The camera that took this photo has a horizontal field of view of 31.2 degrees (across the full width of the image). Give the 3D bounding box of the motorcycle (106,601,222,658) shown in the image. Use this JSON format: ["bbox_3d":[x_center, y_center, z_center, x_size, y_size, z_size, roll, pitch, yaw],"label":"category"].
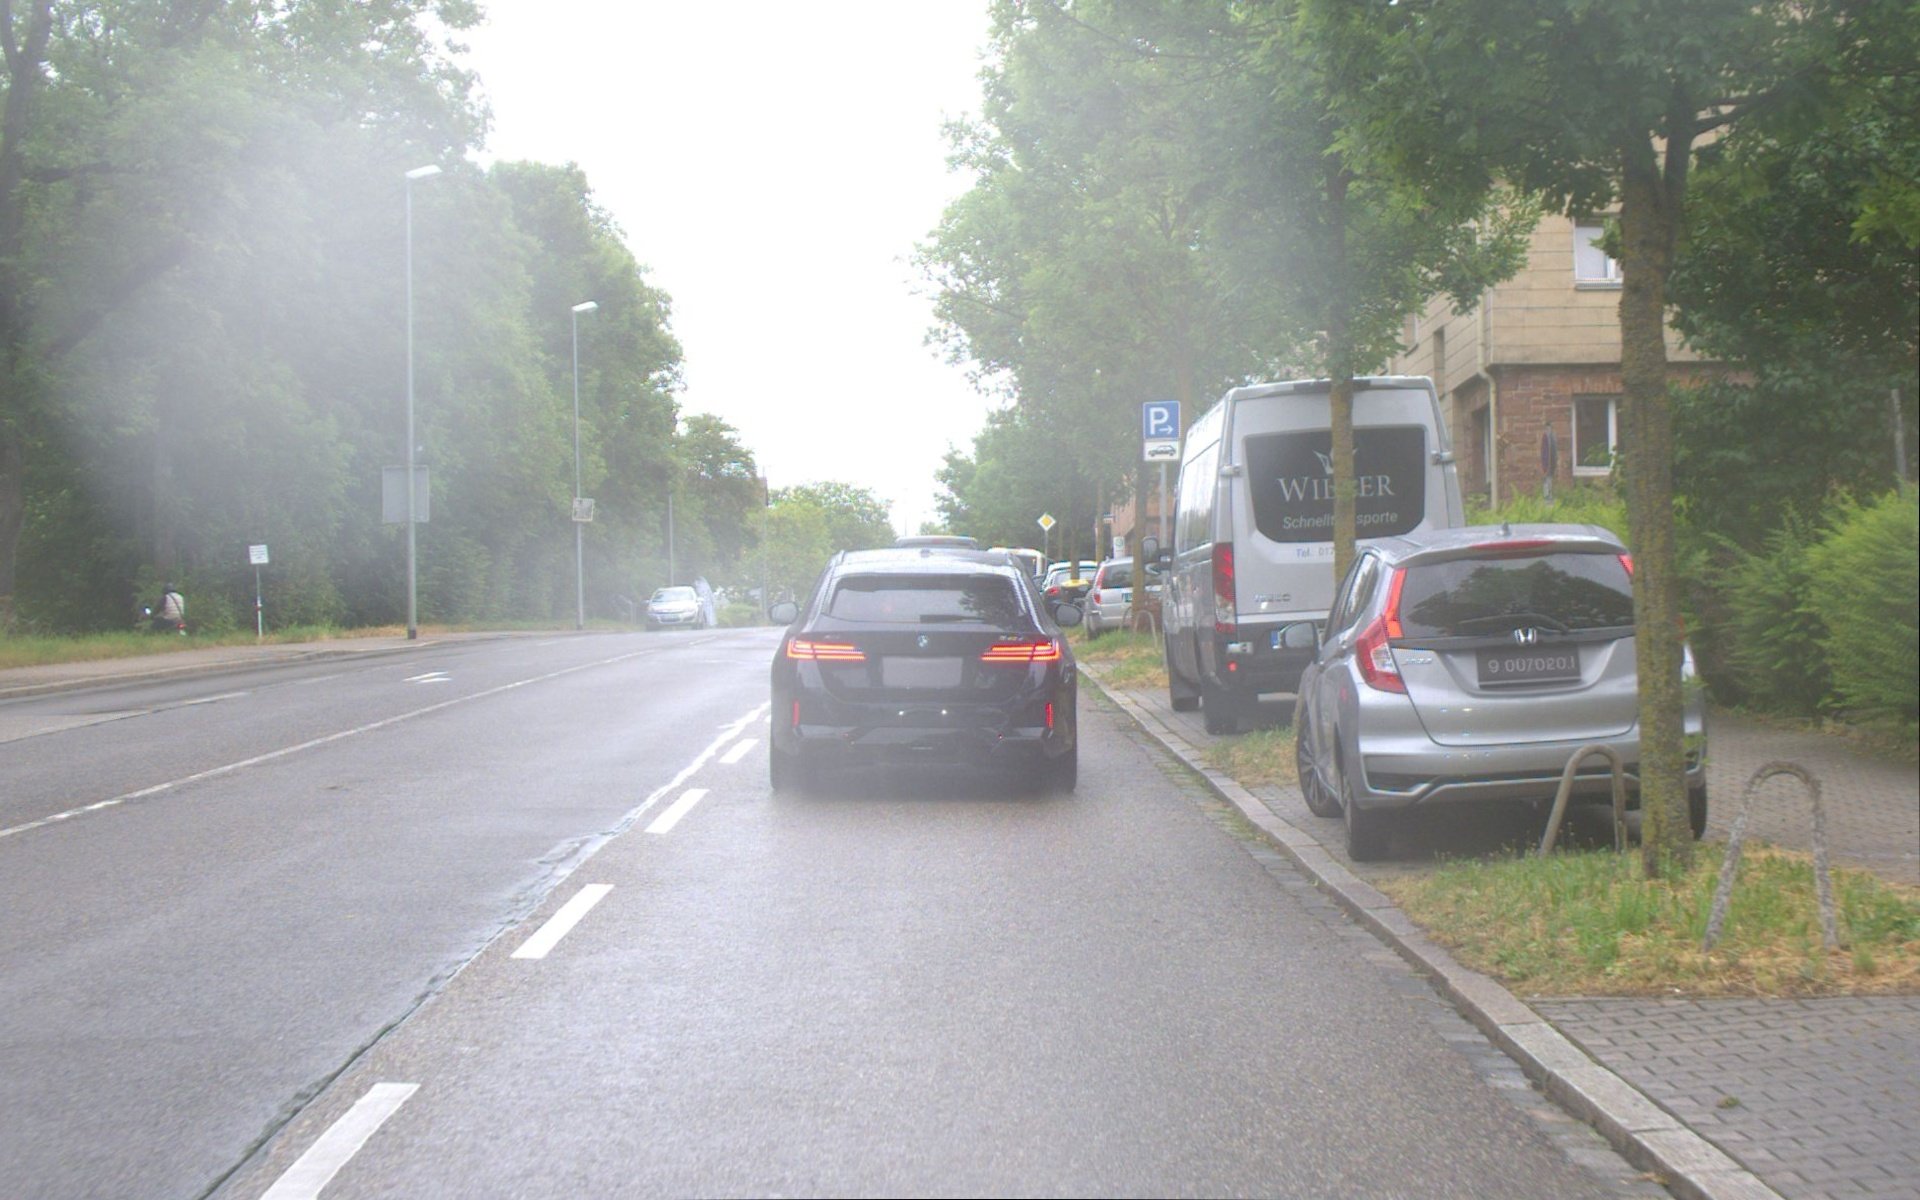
[{"bbox_3d":[-16.498,0.609,71.250,2.183,1.114,0.823,1,1,14],"label":"motorcycle"}]

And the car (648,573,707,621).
[{"bbox_3d":[-9.294,-0.088,113.307,1.689,1.478,4.452,-3,0,-2],"label":"car"}]

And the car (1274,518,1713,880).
[{"bbox_3d":[2.559,0.419,17.278,1.668,1.523,3.831,-4,1,2],"label":"car"}]

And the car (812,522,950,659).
[{"bbox_3d":[-1.161,-0.138,52.598,1.993,2.007,4.000,0,0,0],"label":"car"}]

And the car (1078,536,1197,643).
[{"bbox_3d":[2.897,-0.214,56.879,1.702,1.579,4.643,-4,1,1],"label":"car"}]

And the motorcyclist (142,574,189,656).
[{"bbox_3d":[-16.456,0.303,71.233,0.649,1.675,0.813,1,1,14],"label":"motorcyclist"}]

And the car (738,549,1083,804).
[{"bbox_3d":[-0.324,0.446,22.342,1.993,1.448,4.000,2,0,-1],"label":"car"}]

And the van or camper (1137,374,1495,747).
[{"bbox_3d":[2.800,-0.356,28.878,2.198,2.642,7.301,-2,1,0],"label":"van or camper"}]

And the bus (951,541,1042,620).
[{"bbox_3d":[1.439,-0.744,130.793,2.623,2.838,8.287,-2,0,6],"label":"bus"}]
